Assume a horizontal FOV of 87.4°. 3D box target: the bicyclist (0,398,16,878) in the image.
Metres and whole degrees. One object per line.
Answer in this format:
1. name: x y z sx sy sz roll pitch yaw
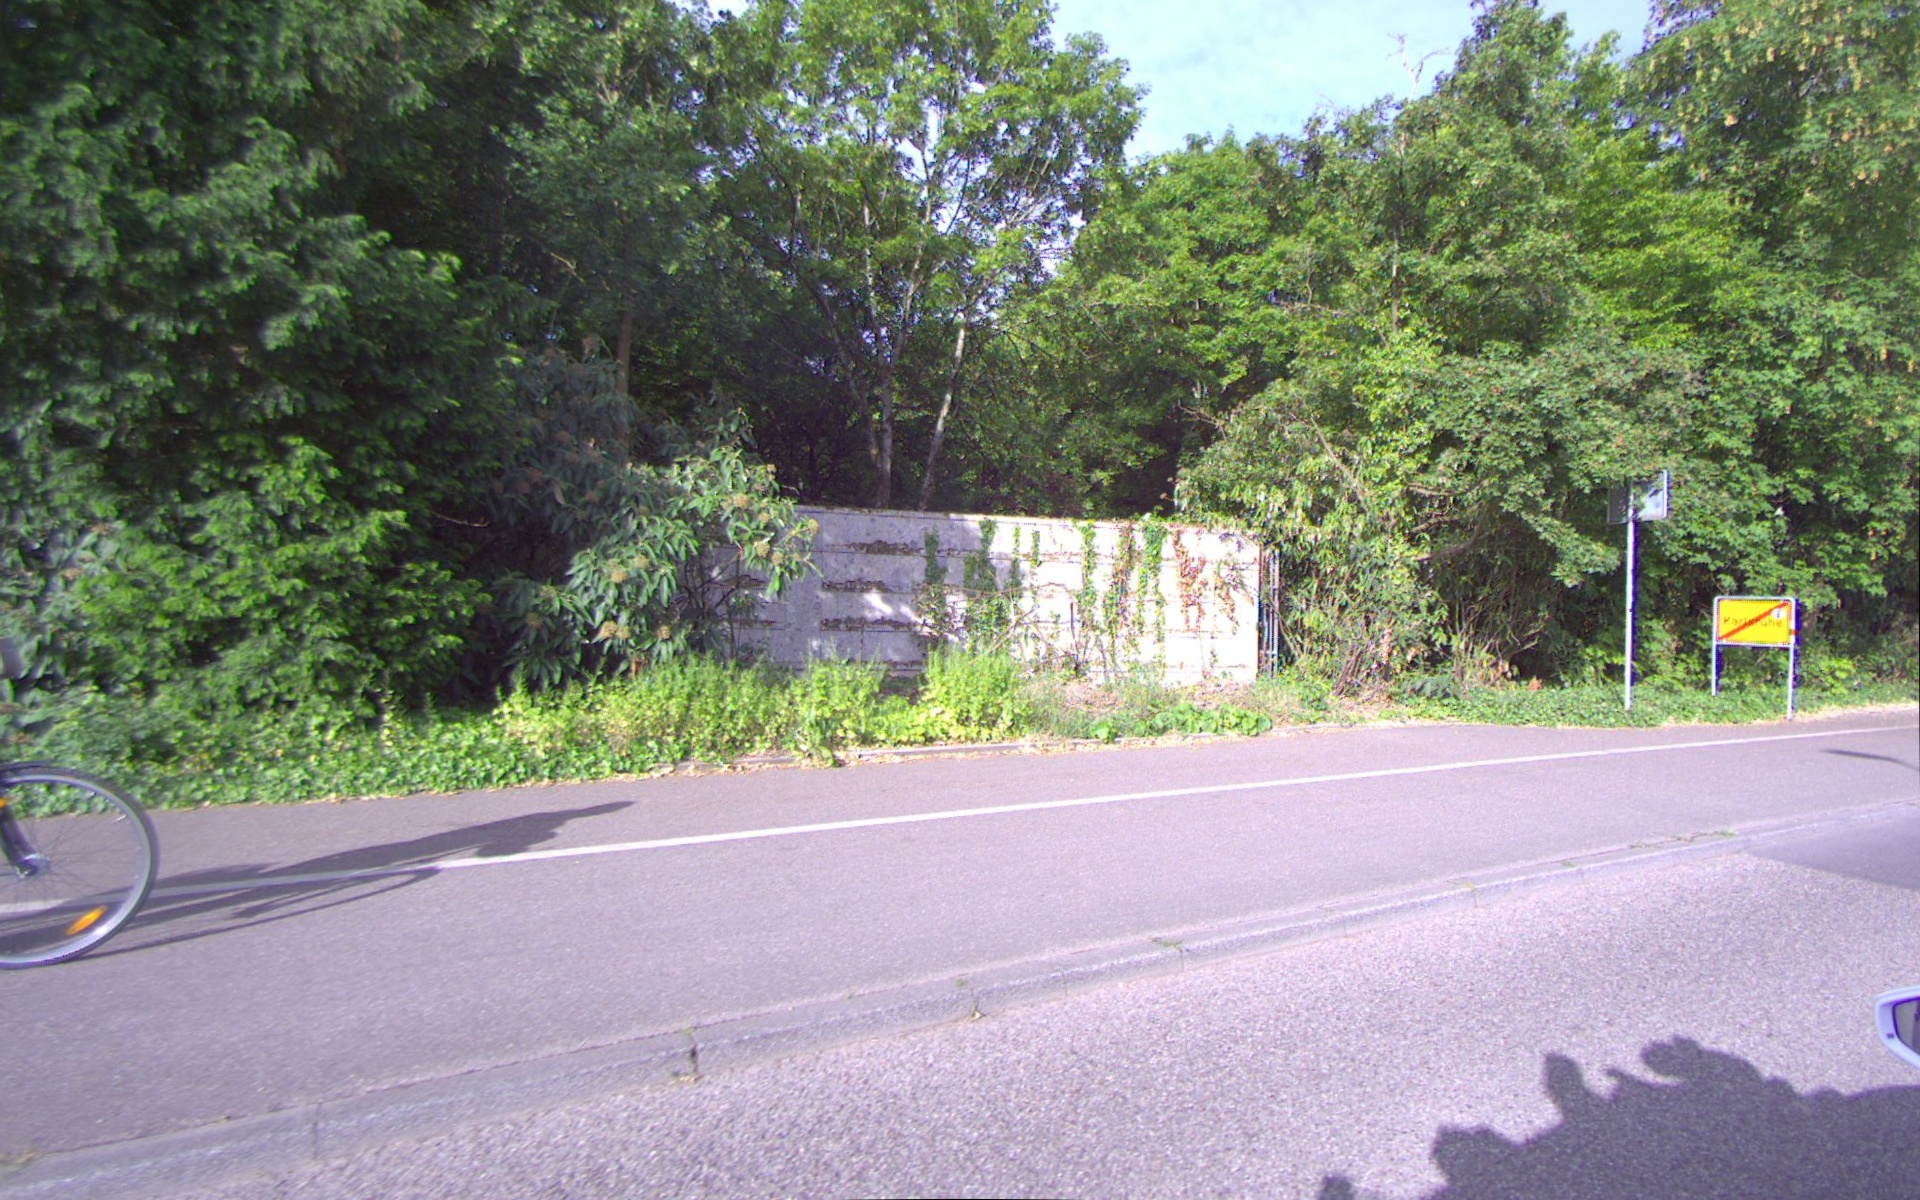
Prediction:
1. bicyclist: -3.685 0.145 3.187 0.873 1.699 0.605 1 3 -30

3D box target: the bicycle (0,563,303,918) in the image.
1. bicycle: -3.568 0.433 3.276 2.321 1.112 0.659 2 3 -30
